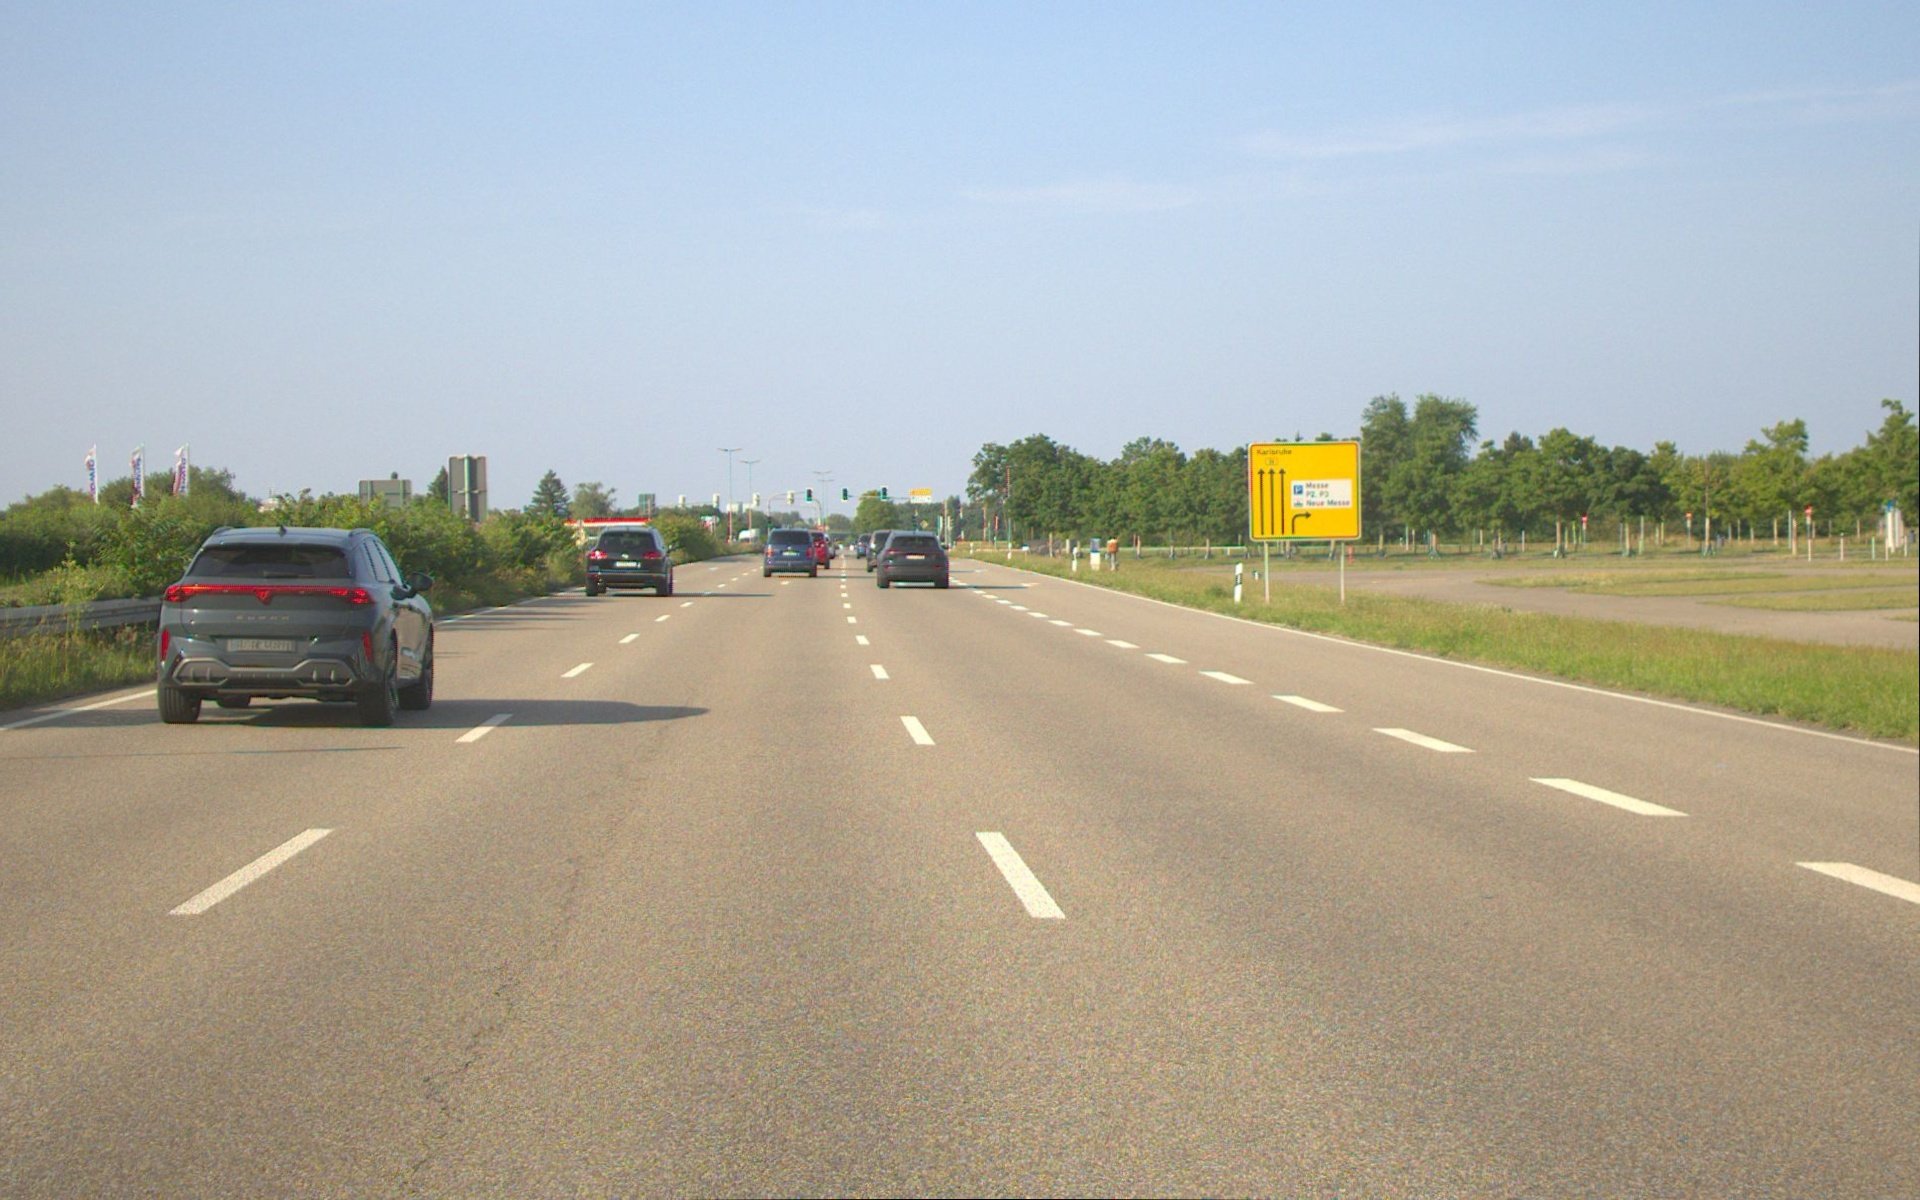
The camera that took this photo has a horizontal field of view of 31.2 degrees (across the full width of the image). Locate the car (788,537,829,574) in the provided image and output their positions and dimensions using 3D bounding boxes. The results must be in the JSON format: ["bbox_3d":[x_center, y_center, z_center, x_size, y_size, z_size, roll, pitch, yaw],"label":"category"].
[{"bbox_3d":[-6.250,-1.844,142.108,1.647,1.458,3.981,2,1,-2],"label":"car"}]

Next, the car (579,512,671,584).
[{"bbox_3d":[-8.208,-1.284,84.466,1.932,1.674,4.401,2,1,-2],"label":"car"}]

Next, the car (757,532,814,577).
[{"bbox_3d":[-5.899,-1.566,116.756,1.812,1.458,4.401,2,1,-2],"label":"car"}]

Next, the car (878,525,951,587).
[{"bbox_3d":[-1.316,-1.283,98.293,1.932,1.674,4.401,2,1,-2],"label":"car"}]

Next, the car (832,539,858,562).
[{"bbox_3d":[-6.738,-2.911,201.629,1.503,1.309,3.156,2,1,-2],"label":"car"}]

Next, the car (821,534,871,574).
[{"bbox_3d":[-4.435,-1.808,134.079,1.873,1.458,3.981,2,1,-2],"label":"car"}]

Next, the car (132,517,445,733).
[{"bbox_3d":[-5.496,0.149,28.655,1.845,1.606,4.401,2,1,-2],"label":"car"}]
